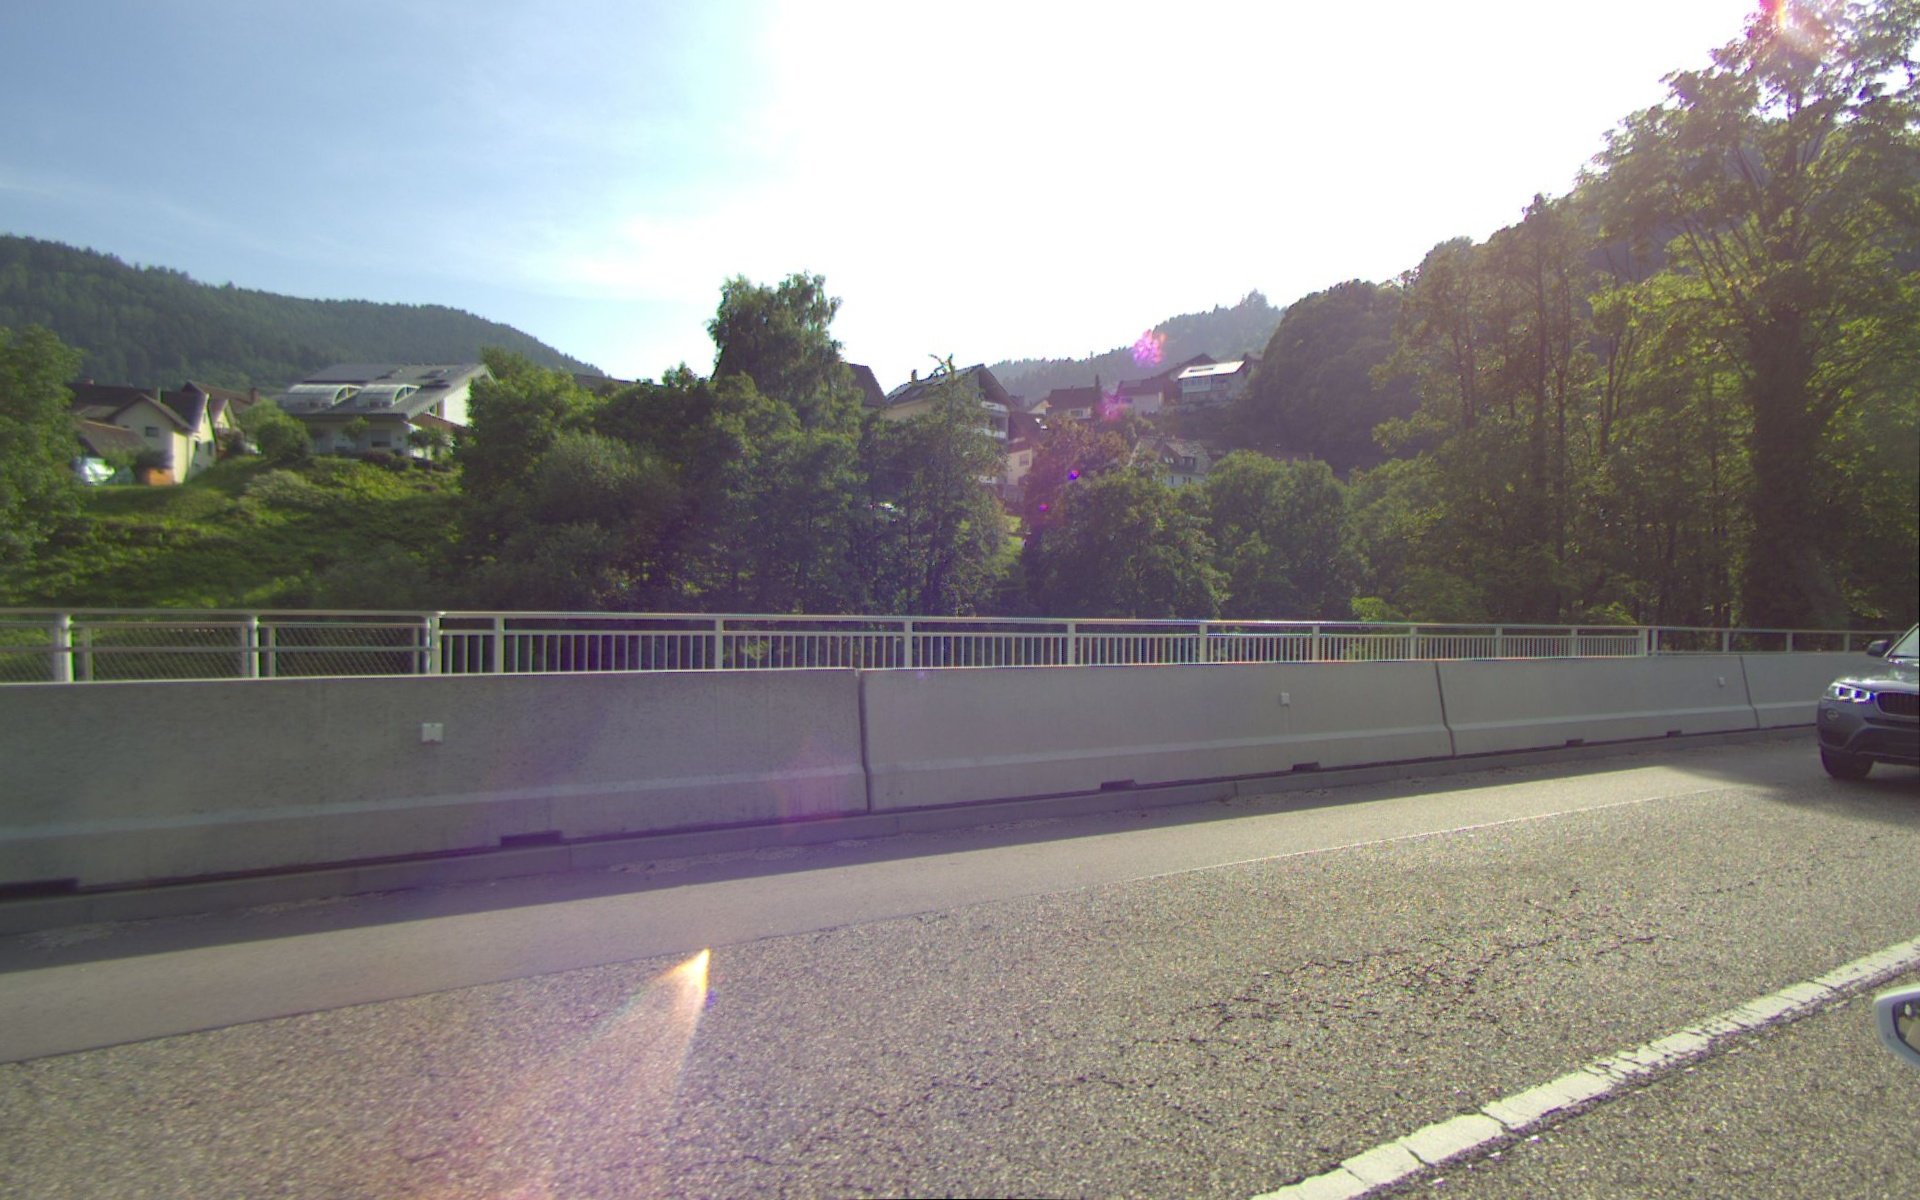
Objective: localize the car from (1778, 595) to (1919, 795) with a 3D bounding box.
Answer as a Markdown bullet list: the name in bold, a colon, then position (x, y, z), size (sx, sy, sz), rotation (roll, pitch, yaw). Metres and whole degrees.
- **car**: position (9.937, 0.838, 9.453), size (4.453, 1.650, 1.984), rotation (1, 0, -30)
